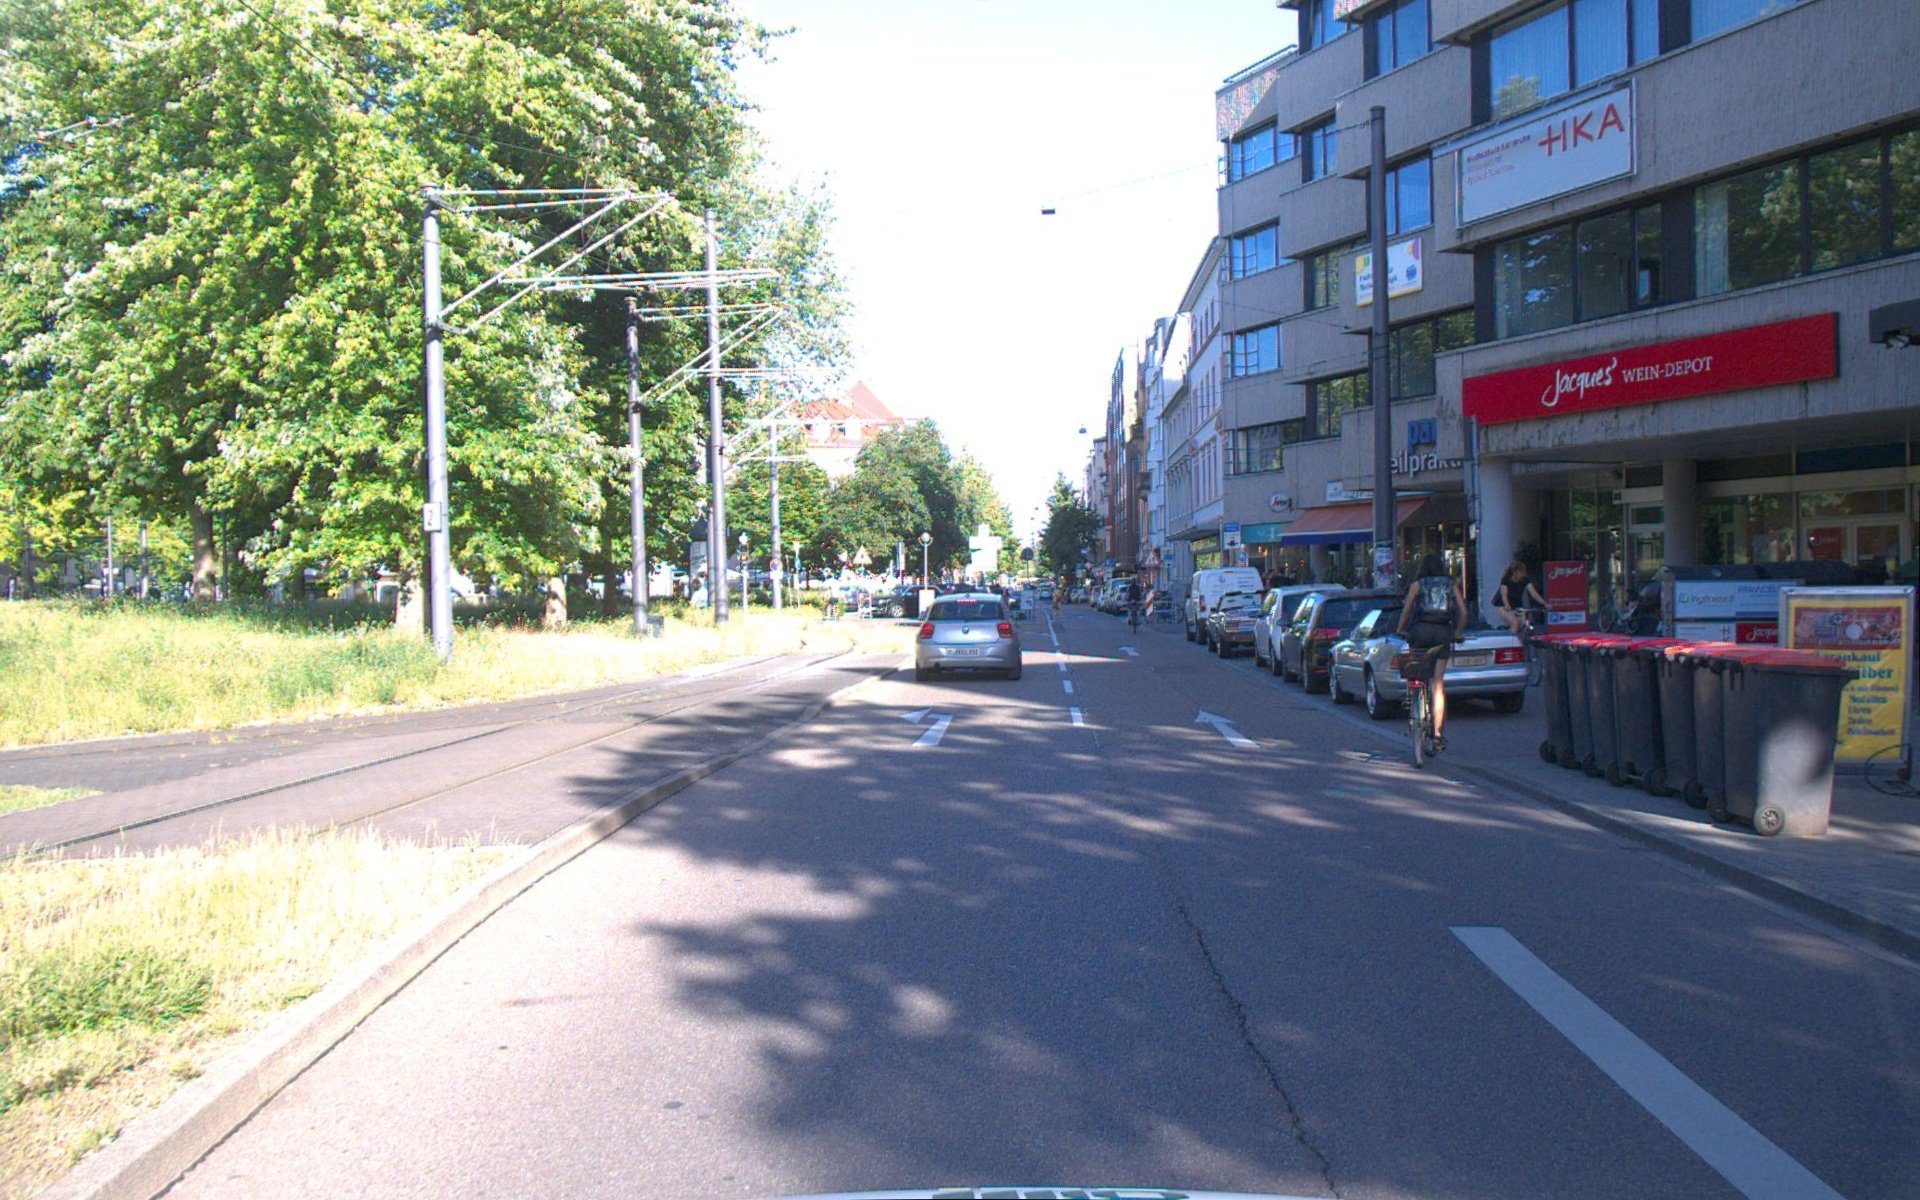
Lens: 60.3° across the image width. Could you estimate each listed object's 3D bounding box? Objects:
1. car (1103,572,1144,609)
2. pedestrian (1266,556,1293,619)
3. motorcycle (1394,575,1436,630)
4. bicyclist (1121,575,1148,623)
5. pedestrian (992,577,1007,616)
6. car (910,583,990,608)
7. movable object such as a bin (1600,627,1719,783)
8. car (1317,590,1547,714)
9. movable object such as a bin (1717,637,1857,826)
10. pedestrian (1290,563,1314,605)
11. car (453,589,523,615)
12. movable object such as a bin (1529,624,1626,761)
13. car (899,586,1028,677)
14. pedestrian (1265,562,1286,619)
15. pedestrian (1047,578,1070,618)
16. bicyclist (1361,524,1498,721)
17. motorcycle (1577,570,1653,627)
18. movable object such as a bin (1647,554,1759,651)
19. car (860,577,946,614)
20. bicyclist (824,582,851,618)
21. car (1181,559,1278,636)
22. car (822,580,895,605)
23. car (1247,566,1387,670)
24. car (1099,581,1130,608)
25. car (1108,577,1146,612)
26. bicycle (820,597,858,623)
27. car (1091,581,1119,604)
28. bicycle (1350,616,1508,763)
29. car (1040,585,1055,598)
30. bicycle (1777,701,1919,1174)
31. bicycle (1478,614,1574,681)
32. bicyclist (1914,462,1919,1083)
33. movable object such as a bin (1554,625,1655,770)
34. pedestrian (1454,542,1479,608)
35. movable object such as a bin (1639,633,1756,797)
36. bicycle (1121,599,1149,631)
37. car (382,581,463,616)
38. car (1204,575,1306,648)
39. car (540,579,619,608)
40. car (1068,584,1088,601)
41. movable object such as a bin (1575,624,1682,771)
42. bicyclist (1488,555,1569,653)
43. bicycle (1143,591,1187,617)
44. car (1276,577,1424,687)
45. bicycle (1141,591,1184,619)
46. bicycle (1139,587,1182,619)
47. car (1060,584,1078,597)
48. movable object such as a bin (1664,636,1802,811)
[{"bbox_3d":[9.467,-0.575,96.228,1.952,2.040,5.118,-1,1,1],"label":"car"},{"bbox_3d":[9.828,-0.368,50.858,0.656,1.888,0.611,-3,-1,6],"label":"pedestrian"},{"bbox_3d":[10.325,0.059,37.574,0.747,1.175,2.049,-3,-1,12],"label":"motorcycle"},{"bbox_3d":[5.483,-0.036,51.987,0.770,1.478,1.096,0,-1,1],"label":"bicyclist"},{"bbox_3d":[1.762,-0.150,73.727,0.622,1.701,0.693,0,-1,3],"label":"pedestrian"},{"bbox_3d":[-0.624,-0.283,104.315,4.765,1.514,1.754,1,-1,-21],"label":"car"},{"bbox_3d":[5.019,0.742,11.896,0.594,1.087,0.613,0,-1,-1],"label":"movable object such as a bin"},{"bbox_3d":[5.752,0.596,20.727,1.812,1.367,4.601,0,-1,3],"label":"car"},{"bbox_3d":[5.011,0.783,10.046,0.561,1.101,0.570,0,-1,-1],"label":"movable object such as a bin"},{"bbox_3d":[10.495,-0.478,50.784,0.616,1.258,0.625,-3,-1,6],"label":"pedestrian"},{"bbox_3d":[-34.435,0.149,120.637,4.783,1.836,1.898,1,-1,-20],"label":"car"},{"bbox_3d":[5.120,0.756,13.737,0.580,1.102,0.604,0,-1,-1],"label":"movable object such as a bin"},{"bbox_3d":[0.143,0.531,28.652,1.951,1.448,4.198,0,-1,4],"label":"car"},{"bbox_3d":[9.856,-0.288,51.673,0.571,1.744,0.698,0,-1,6],"label":"pedestrian"},{"bbox_3d":[4.248,-0.087,71.301,0.660,1.729,0.798,1,-1,-27],"label":"pedestrian"},{"bbox_3d":[4.169,0.196,14.667,0.923,1.662,0.932,0,-1,34],"label":"bicyclist"},{"bbox_3d":[13.989,-0.048,35.383,0.502,1.188,2.097,0,1,-9],"label":"motorcycle"},{"bbox_3d":[11.166,0.034,24.897,1.307,1.422,1.122,0,-1,10],"label":"movable object such as a bin"},{"bbox_3d":[-2.726,-0.232,79.605,3.836,1.711,1.785,-1,-1,-41],"label":"car"},{"bbox_3d":[-5.243,0.012,70.700,0.917,1.534,0.819,1,-1,-25],"label":"bicyclist"},{"bbox_3d":[6.863,-0.040,42.491,1.952,1.844,4.310,0,-1,2],"label":"car"},{"bbox_3d":[-7.755,-0.571,126.320,5.195,1.831,2.147,1,-1,-24],"label":"car"},{"bbox_3d":[6.311,0.318,29.647,1.813,1.718,3.868,0,-1,2],"label":"car"},{"bbox_3d":[9.863,-0.347,105.700,1.683,1.541,3.583,-3,-1,2],"label":"car"},{"bbox_3d":[8.634,-0.256,85.842,1.709,1.769,4.961,0,-1,2],"label":"car"},{"bbox_3d":[-5.191,0.420,70.573,0.799,1.087,2.563,1,-1,-24],"label":"bicycle"},{"bbox_3d":[11.108,-0.586,126.840,1.859,1.704,4.826,0,-1,2],"label":"car"},{"bbox_3d":[4.195,0.750,14.687,0.805,1.206,1.958,0,-1,33],"label":"bicycle"},{"bbox_3d":[11.087,-1.031,208.951,1.831,1.583,4.001,0,-1,3],"label":"car"},{"bbox_3d":[2.895,0.862,3.701,0.868,1.156,2.226,0,-1,-6],"label":"bicycle"},{"bbox_3d":[7.909,0.646,23.192,0.523,0.907,2.068,0,-1,-3],"label":"bicycle"},{"bbox_3d":[2.889,0.417,3.611,1.018,1.510,0.987,0,-1,-6],"label":"bicyclist"},{"bbox_3d":[5.114,0.760,13.143,0.597,1.125,0.526,0,-1,-1],"label":"movable object such as a bin"},{"bbox_3d":[14.360,-0.711,46.874,0.688,1.848,0.717,0,-1,18],"label":"pedestrian"},{"bbox_3d":[5.032,0.771,11.307,0.579,1.087,0.496,0,-1,-1],"label":"movable object such as a bin"},{"bbox_3d":[5.490,0.472,51.936,0.639,0.975,2.698,0,-1,1],"label":"bicycle"},{"bbox_3d":[-37.056,-0.114,114.025,5.259,2.354,1.988,1,-1,-21],"label":"car"},{"bbox_3d":[6.350,0.260,35.999,1.737,1.479,4.733,0,-1,5],"label":"car"},{"bbox_3d":[-28.306,-0.458,123.070,5.502,2.049,1.804,1,-1,-24],"label":"car"},{"bbox_3d":[11.967,-0.755,168.209,1.951,1.646,4.012,1,-1,5],"label":"car"},{"bbox_3d":[5.075,0.732,12.577,0.592,1.087,0.545,0,-1,-1],"label":"movable object such as a bin"},{"bbox_3d":[7.951,0.059,23.162,0.743,1.349,0.993,0,-1,-4],"label":"bicyclist"},{"bbox_3d":[8.053,0.164,65.063,1.668,1.022,0.428,0,-1,19],"label":"bicycle"},{"bbox_3d":[5.918,0.473,25.496,1.636,1.545,4.201,0,-1,5],"label":"car"},{"bbox_3d":[7.922,0.197,64.701,1.644,1.081,0.344,0,-1,19],"label":"bicycle"},{"bbox_3d":[8.051,0.116,66.527,1.588,1.265,0.659,0,-1,23],"label":"bicycle"},{"bbox_3d":[13.209,-1.128,200.532,1.952,1.478,4.001,0,0,2],"label":"car"},{"bbox_3d":[5.010,0.786,10.743,0.606,1.087,0.610,0,-1,-1],"label":"movable object such as a bin"}]
